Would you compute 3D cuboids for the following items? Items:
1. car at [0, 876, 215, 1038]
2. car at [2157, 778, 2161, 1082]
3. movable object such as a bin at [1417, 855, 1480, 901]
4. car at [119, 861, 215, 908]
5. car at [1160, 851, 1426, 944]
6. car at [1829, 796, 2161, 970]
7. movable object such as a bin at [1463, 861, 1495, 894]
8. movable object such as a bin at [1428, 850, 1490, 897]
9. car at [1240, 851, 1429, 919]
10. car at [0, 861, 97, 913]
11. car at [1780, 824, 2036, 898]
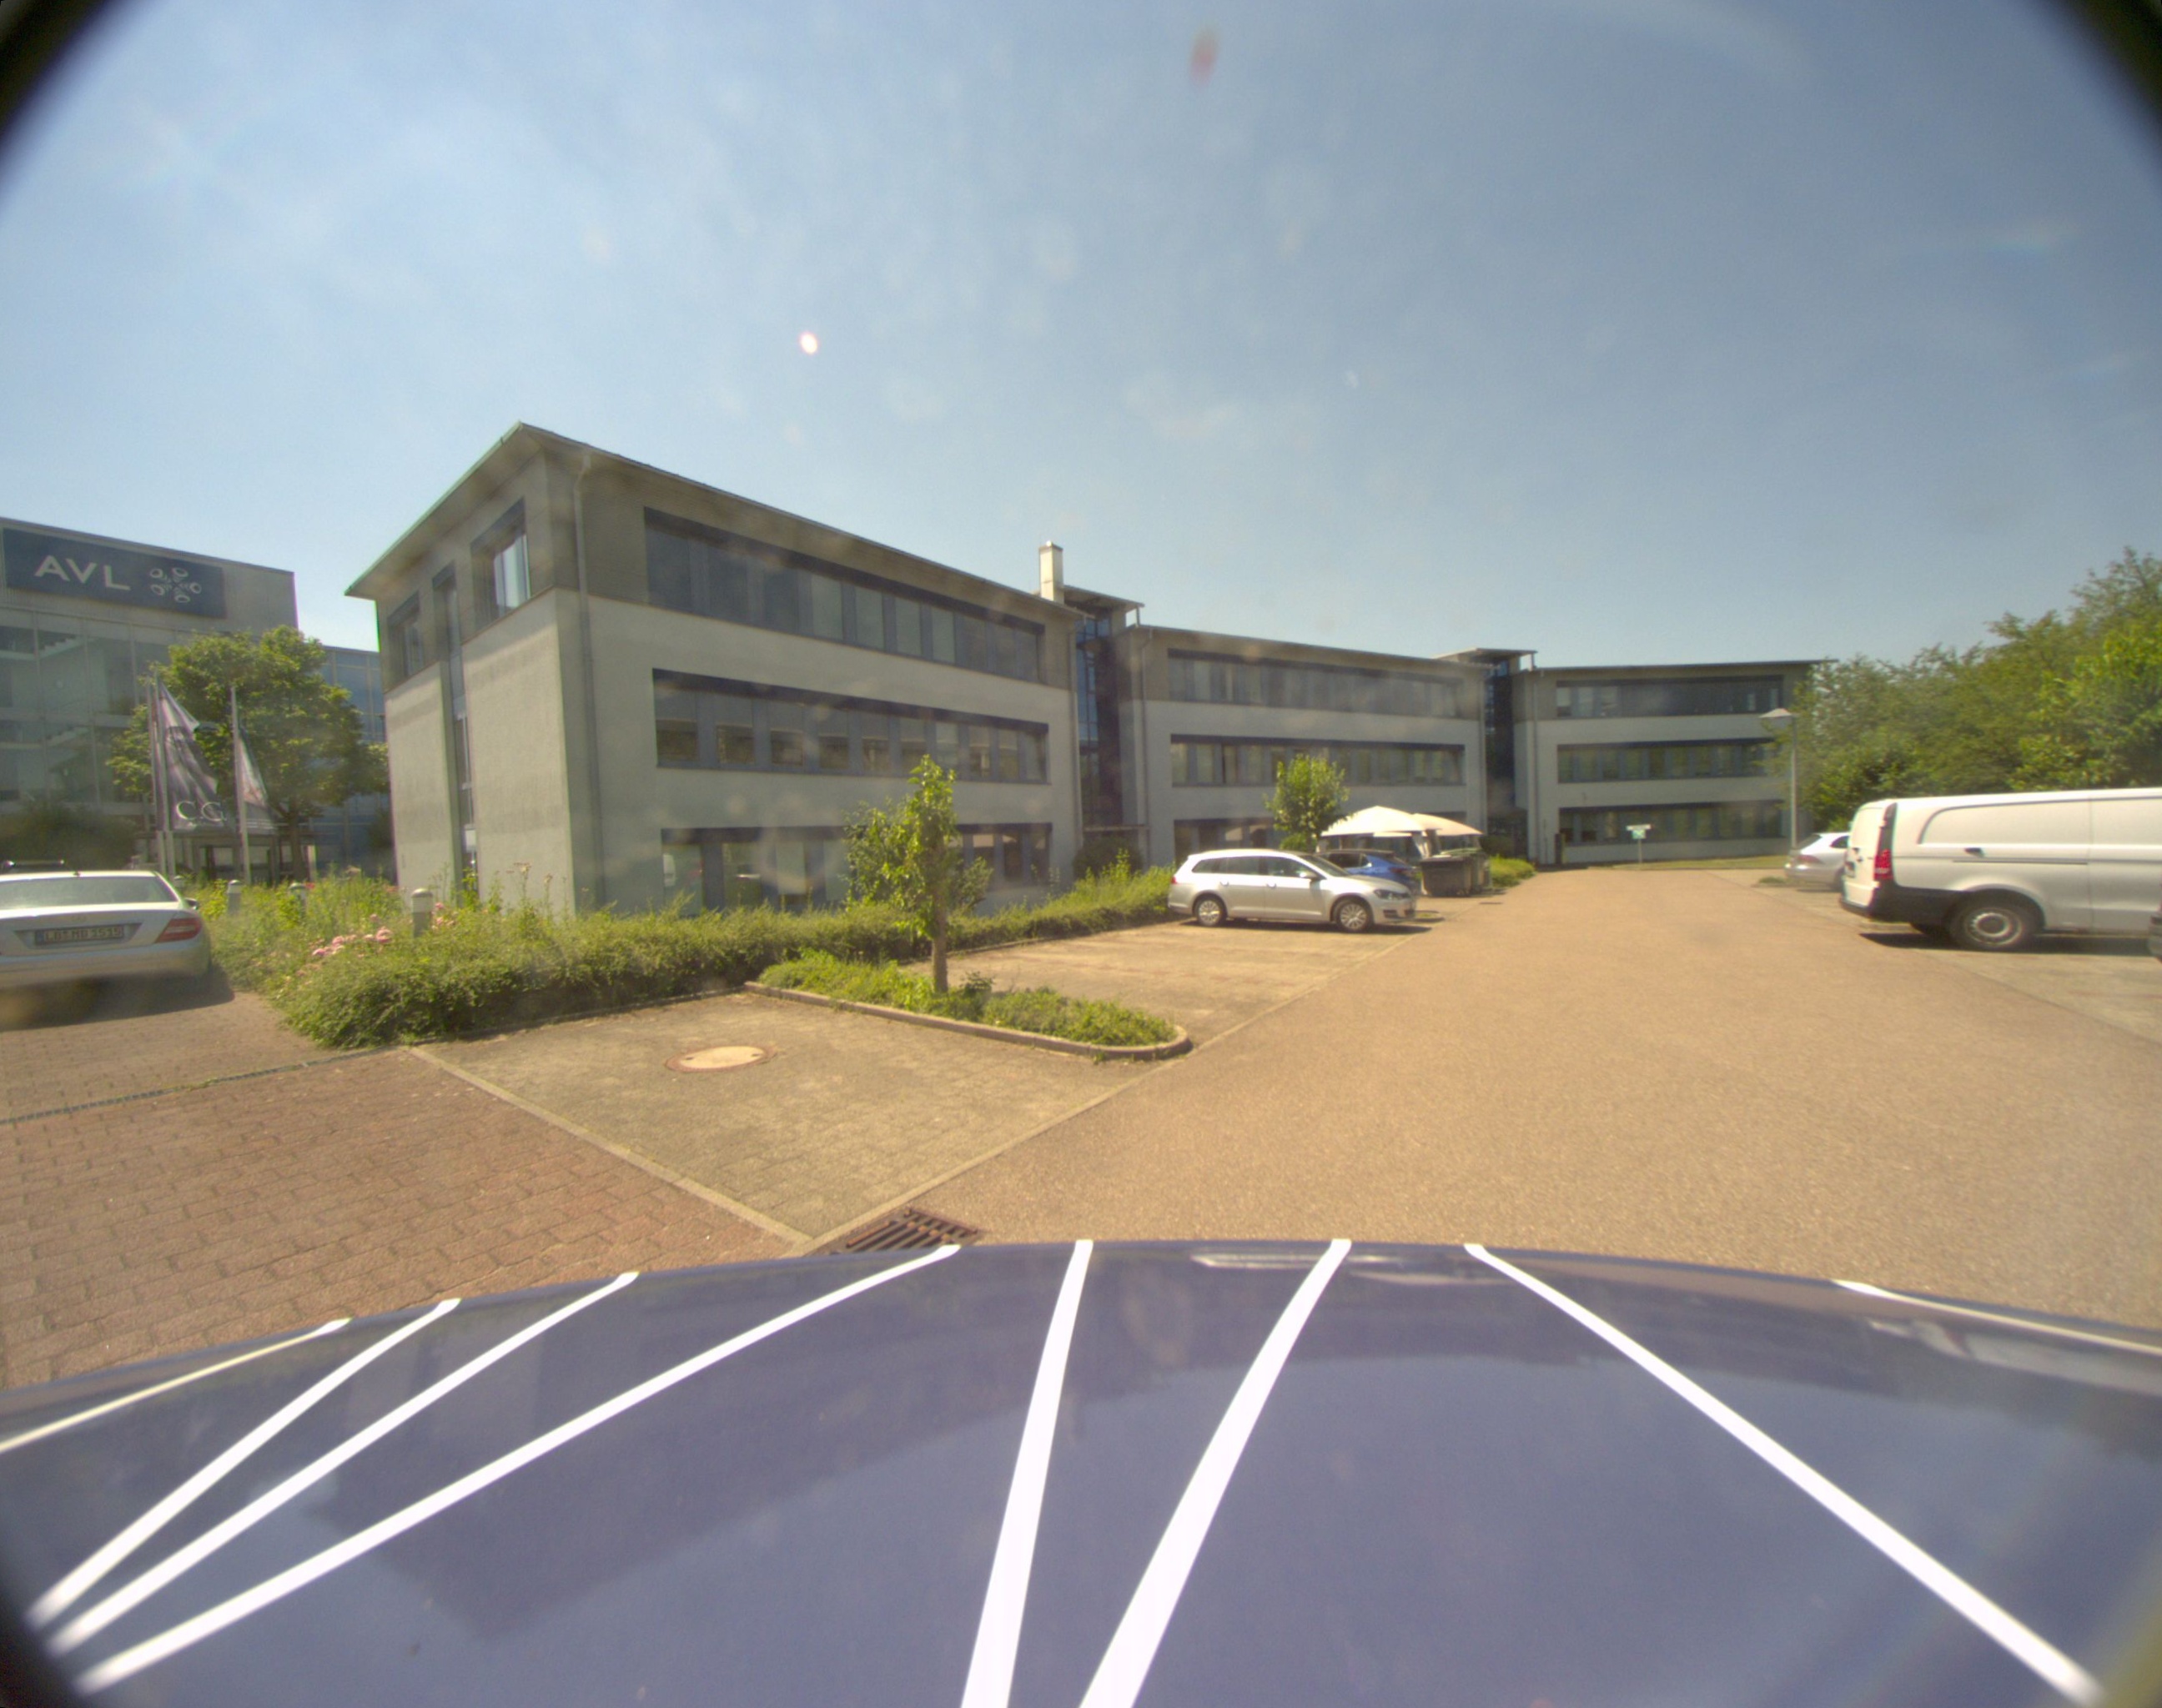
[{"bbox_3d":[-11.193,1.006,8.392,3.706,1.428,1.733,-1,1,35],"label":"car"},{"bbox_3d":[8.222,0.447,2.702,4.722,1.895,1.833,-1,1,33],"label":"car"},{"bbox_3d":[10.166,0.654,21.012,1.361,1.182,0.999,-1,1,40],"label":"movable object such as a bin"},{"bbox_3d":[-32.356,1.058,26.886,3.989,1.510,1.753,-1,1,34],"label":"car"},{"bbox_3d":[3.940,0.722,14.420,4.508,1.489,1.833,0,1,33],"label":"car"},{"bbox_3d":[12.138,0.288,8.908,4.508,1.871,1.833,-1,1,33],"label":"car"},{"bbox_3d":[11.689,0.685,22.323,0.689,0.944,0.723,-1,1,40],"label":"movable object such as a bin"},{"bbox_3d":[10.862,0.556,21.820,1.361,1.288,1.045,-1,1,40],"label":"movable object such as a bin"},{"bbox_3d":[5.795,0.644,17.507,3.816,1.384,1.655,0,2,33],"label":"car"},{"bbox_3d":[-33.607,1.055,24.658,3.989,1.510,1.753,-1,1,34],"label":"car"},{"bbox_3d":[19.017,0.170,17.737,3.755,1.549,1.664,-1,1,33],"label":"car"}]
